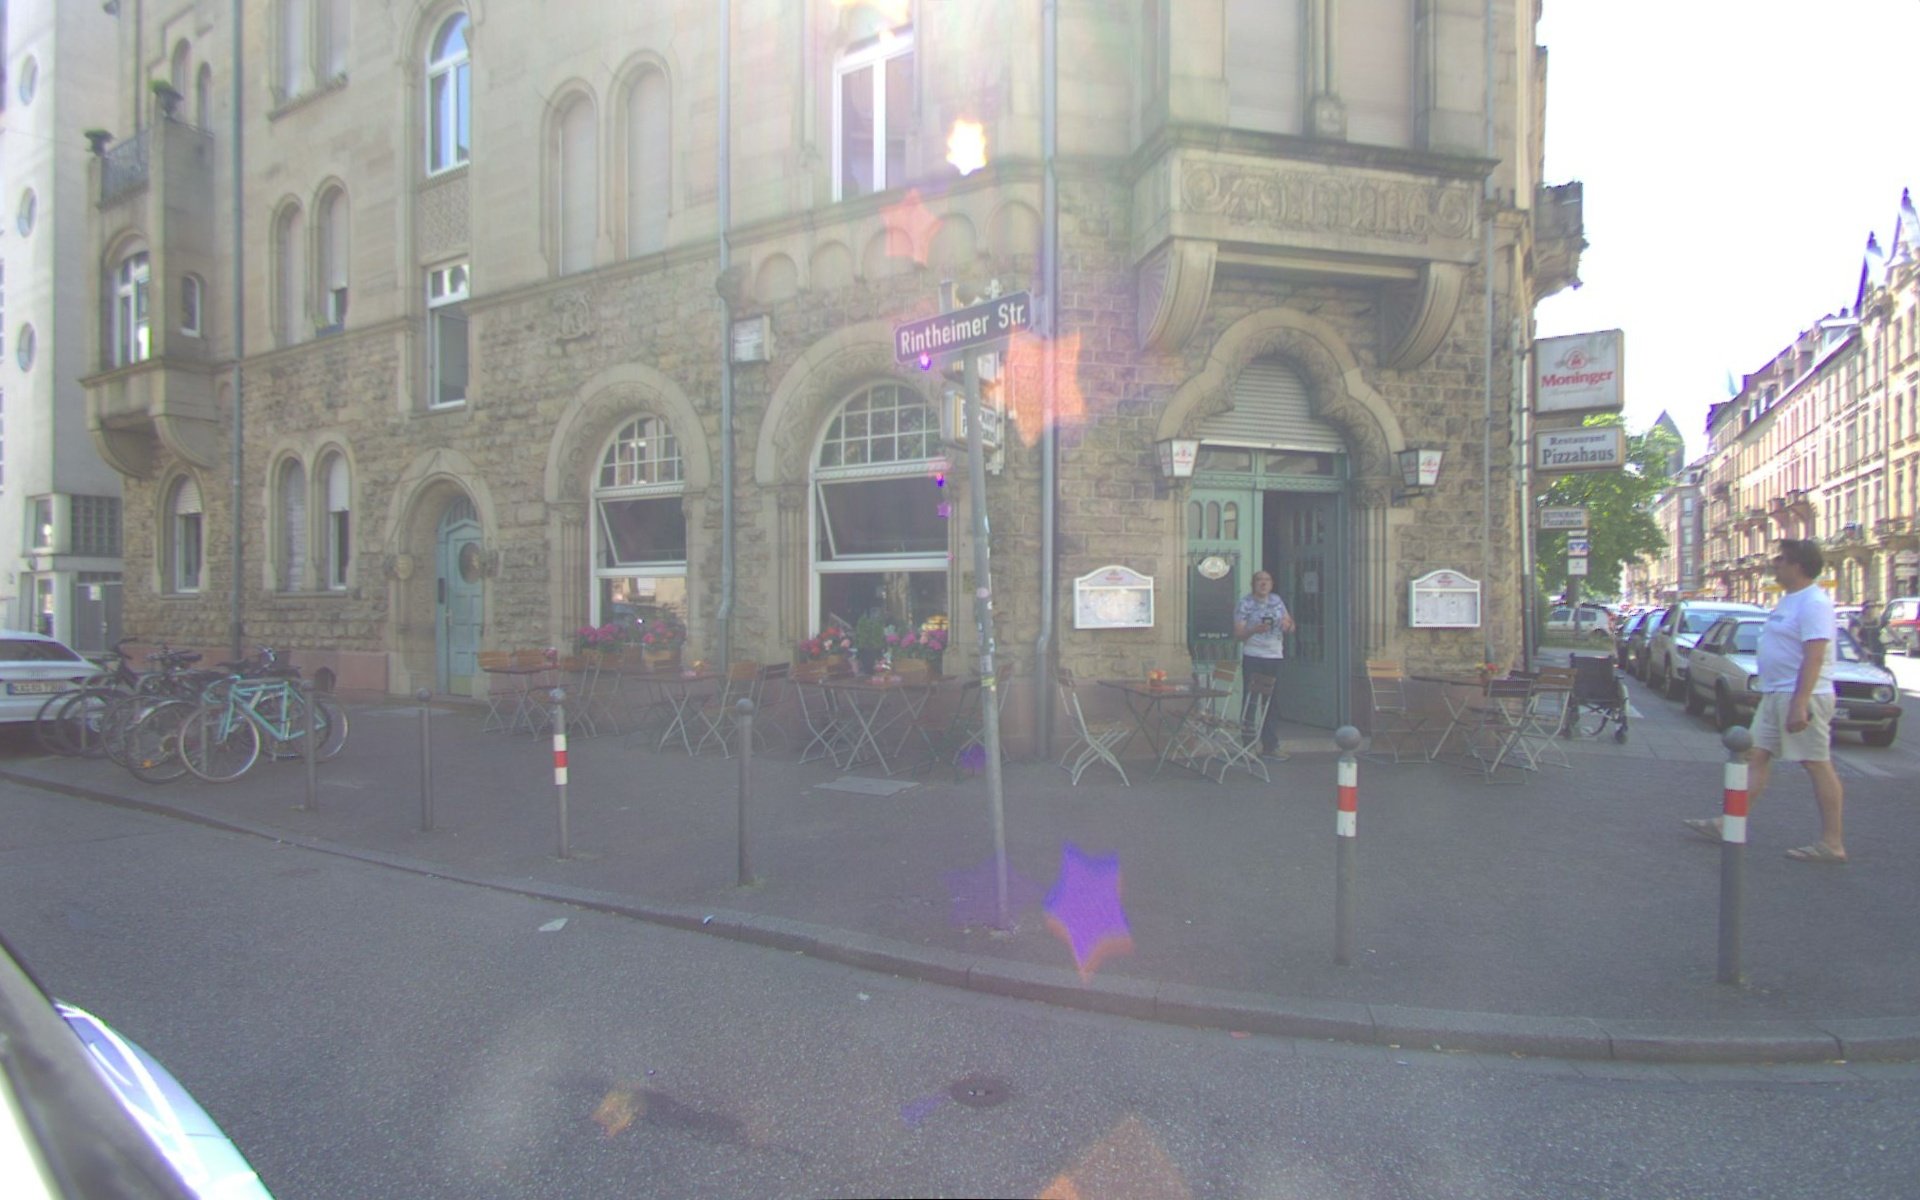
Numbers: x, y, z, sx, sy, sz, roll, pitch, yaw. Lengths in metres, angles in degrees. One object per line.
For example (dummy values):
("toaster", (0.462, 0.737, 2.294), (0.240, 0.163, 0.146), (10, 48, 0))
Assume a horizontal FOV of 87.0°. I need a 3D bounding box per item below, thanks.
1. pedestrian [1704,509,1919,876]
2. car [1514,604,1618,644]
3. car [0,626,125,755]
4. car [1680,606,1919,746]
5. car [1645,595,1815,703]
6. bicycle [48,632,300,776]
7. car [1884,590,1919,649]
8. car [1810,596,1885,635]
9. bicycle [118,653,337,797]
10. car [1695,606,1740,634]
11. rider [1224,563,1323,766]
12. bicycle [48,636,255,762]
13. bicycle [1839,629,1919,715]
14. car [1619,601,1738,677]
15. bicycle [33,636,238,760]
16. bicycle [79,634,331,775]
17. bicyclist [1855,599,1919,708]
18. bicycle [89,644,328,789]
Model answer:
("pedestrian", (4.888, 0.487, 5.816), (0.933, 1.903, 0.843), (0, -1, 34))
("car", (25.026, 0.977, 41.865), (3.625, 1.570, 1.608), (0, -1, 31))
("car", (-12.117, 0.985, 12.094), (4.494, 1.363, 1.690), (0, -3, 28))
("car", (10.447, 0.848, 12.781), (1.714, 1.436, 3.808), (2, 0, 28))
("car", (13.029, 0.770, 17.355), (1.714, 1.594, 3.808), (2, 0, 28))
("bicycle", (-7.665, 0.965, 10.000), (0.393, 1.138, 1.961), (0, 2, 26))
("car", (29.888, 0.587, 30.781), (1.714, 1.743, 3.808), (-2, -2, 28))
("car", (35.488, 0.617, 40.552), (1.520, 1.456, 3.255), (2, 0, 28))
("bicycle", (-6.268, 1.027, 8.750), (0.365, 1.015, 1.516), (0, 2, 26))
("car", (42.349, 1.111, 56.637), (1.520, 1.456, 3.255), (2, 0, 28))
("rider", (2.735, 0.546, 8.861), (0.631, 1.710, 0.542), (1, -1, -15))
("bicycle", (-8.302, 0.972, 10.477), (0.290, 1.108, 1.693), (0, 1, 26))
("bicycle", (14.102, 1.056, 15.408), (0.610, 1.196, 2.281), (0, -1, 29))
("car", (15.291, 0.796, 21.699), (1.631, 1.456, 3.518), (2, 0, 28))
("bicycle", (-8.580, 0.982, 10.619), (0.290, 1.108, 1.693), (0, 1, 26))
("bicycle", (-7.250, 0.946, 9.850), (0.434, 1.138, 1.984), (0, 1, 26))
("bicyclist", (14.130, 0.794, 15.411), (0.622, 1.610, 0.669), (0, -1, 31))
("bicycle", (-6.620, 0.980, 9.023), (0.412, 1.053, 1.695), (0, 2, 26))
